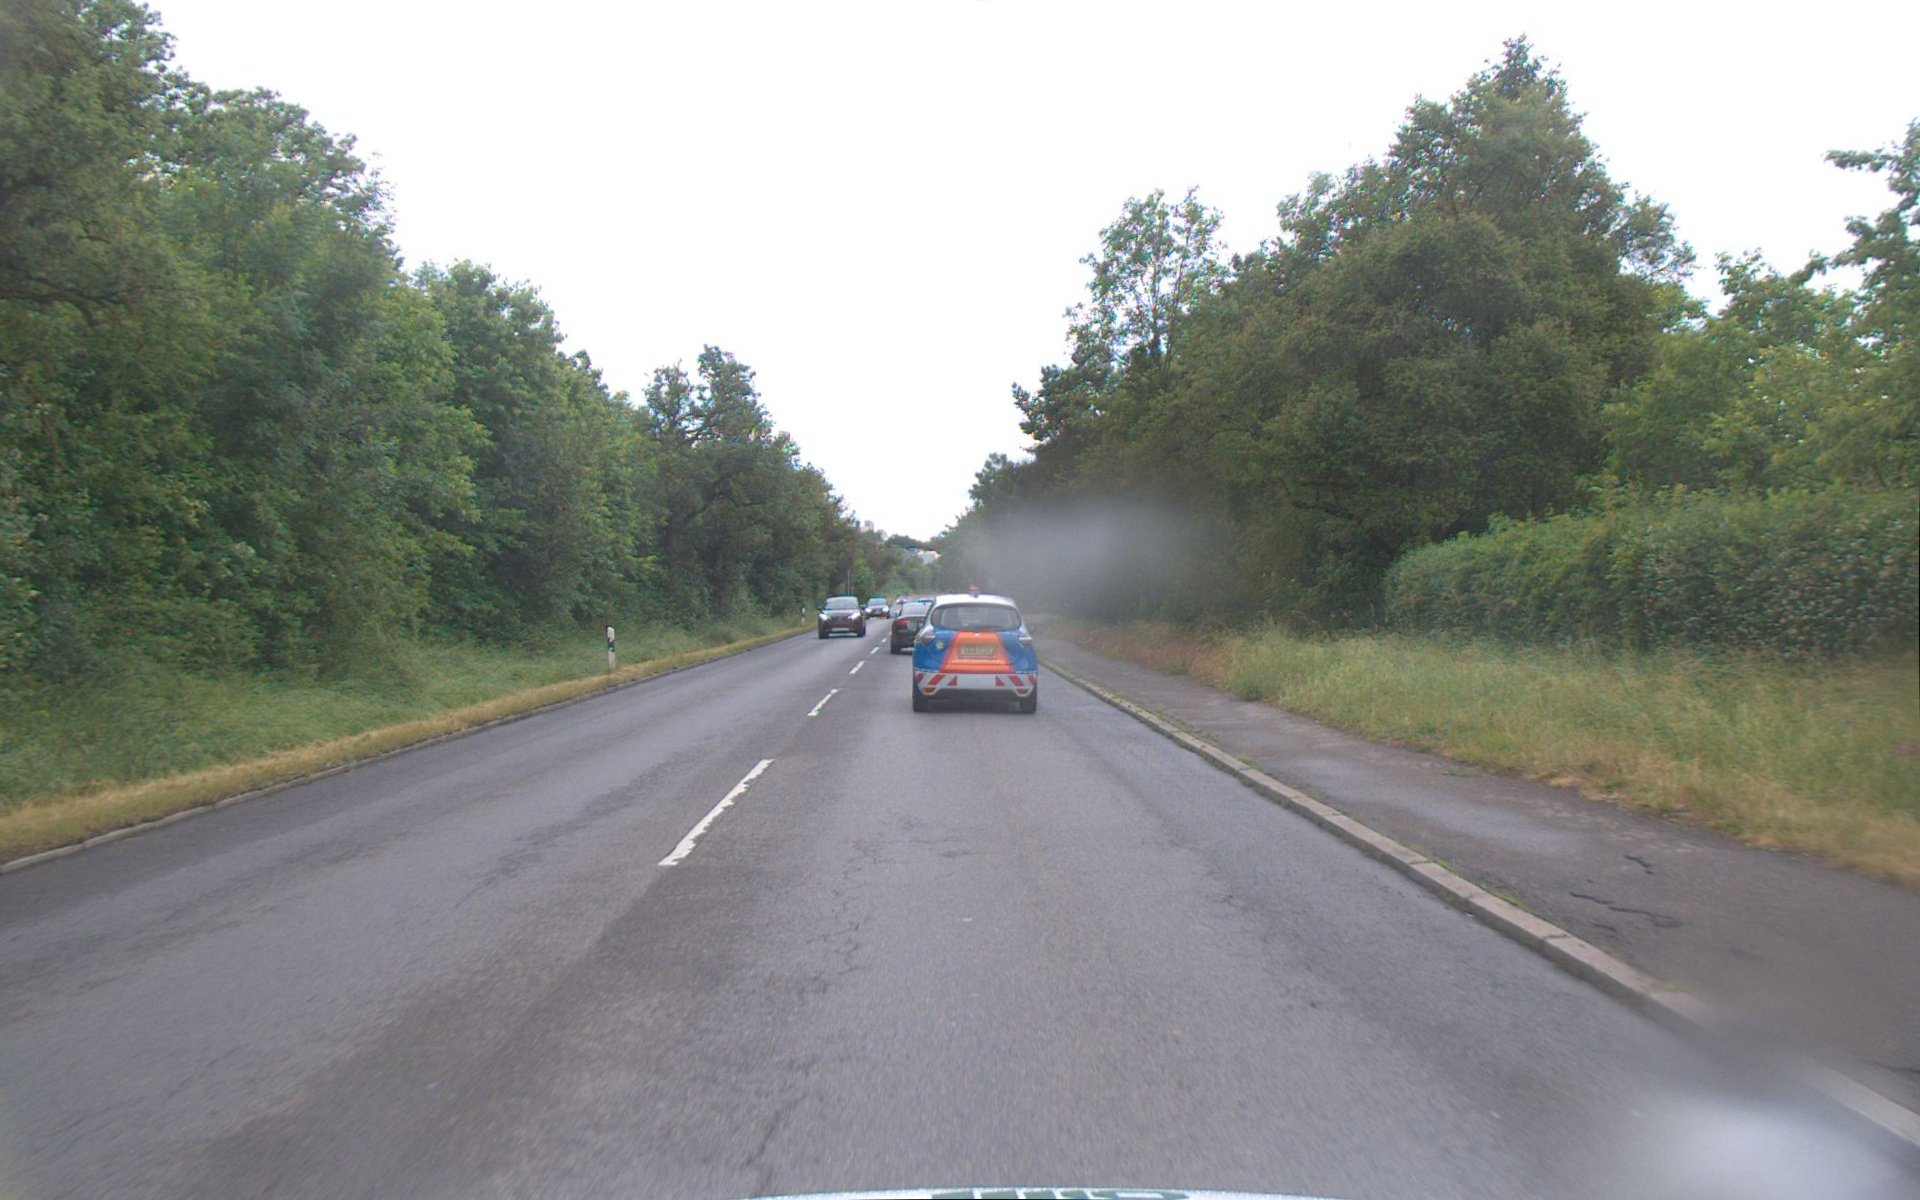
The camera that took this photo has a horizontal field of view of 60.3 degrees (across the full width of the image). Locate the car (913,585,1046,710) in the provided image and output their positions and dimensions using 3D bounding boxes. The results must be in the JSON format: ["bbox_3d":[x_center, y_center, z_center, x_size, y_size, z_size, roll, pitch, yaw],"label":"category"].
[{"bbox_3d":[0.204,0.601,23.351,1.716,1.583,3.791,0,1,-1],"label":"car"}]

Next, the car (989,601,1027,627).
[{"bbox_3d":[2.690,0.767,93.081,1.953,1.400,3.999,-1,0,-1],"label":"car"}]

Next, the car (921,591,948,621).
[{"bbox_3d":[-1.763,0.393,111.284,1.708,1.915,3.998,0,0,-2],"label":"car"}]

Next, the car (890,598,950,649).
[{"bbox_3d":[-1.064,0.616,45.510,1.566,1.309,3.475,-1,0,-1],"label":"car"}]

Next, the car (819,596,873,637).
[{"bbox_3d":[-4.658,0.632,68.068,1.866,1.584,4.515,-1,0,0],"label":"car"}]

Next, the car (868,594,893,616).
[{"bbox_3d":[-5.787,0.356,120.127,1.676,1.423,4.148,-3,0,-2],"label":"car"}]
